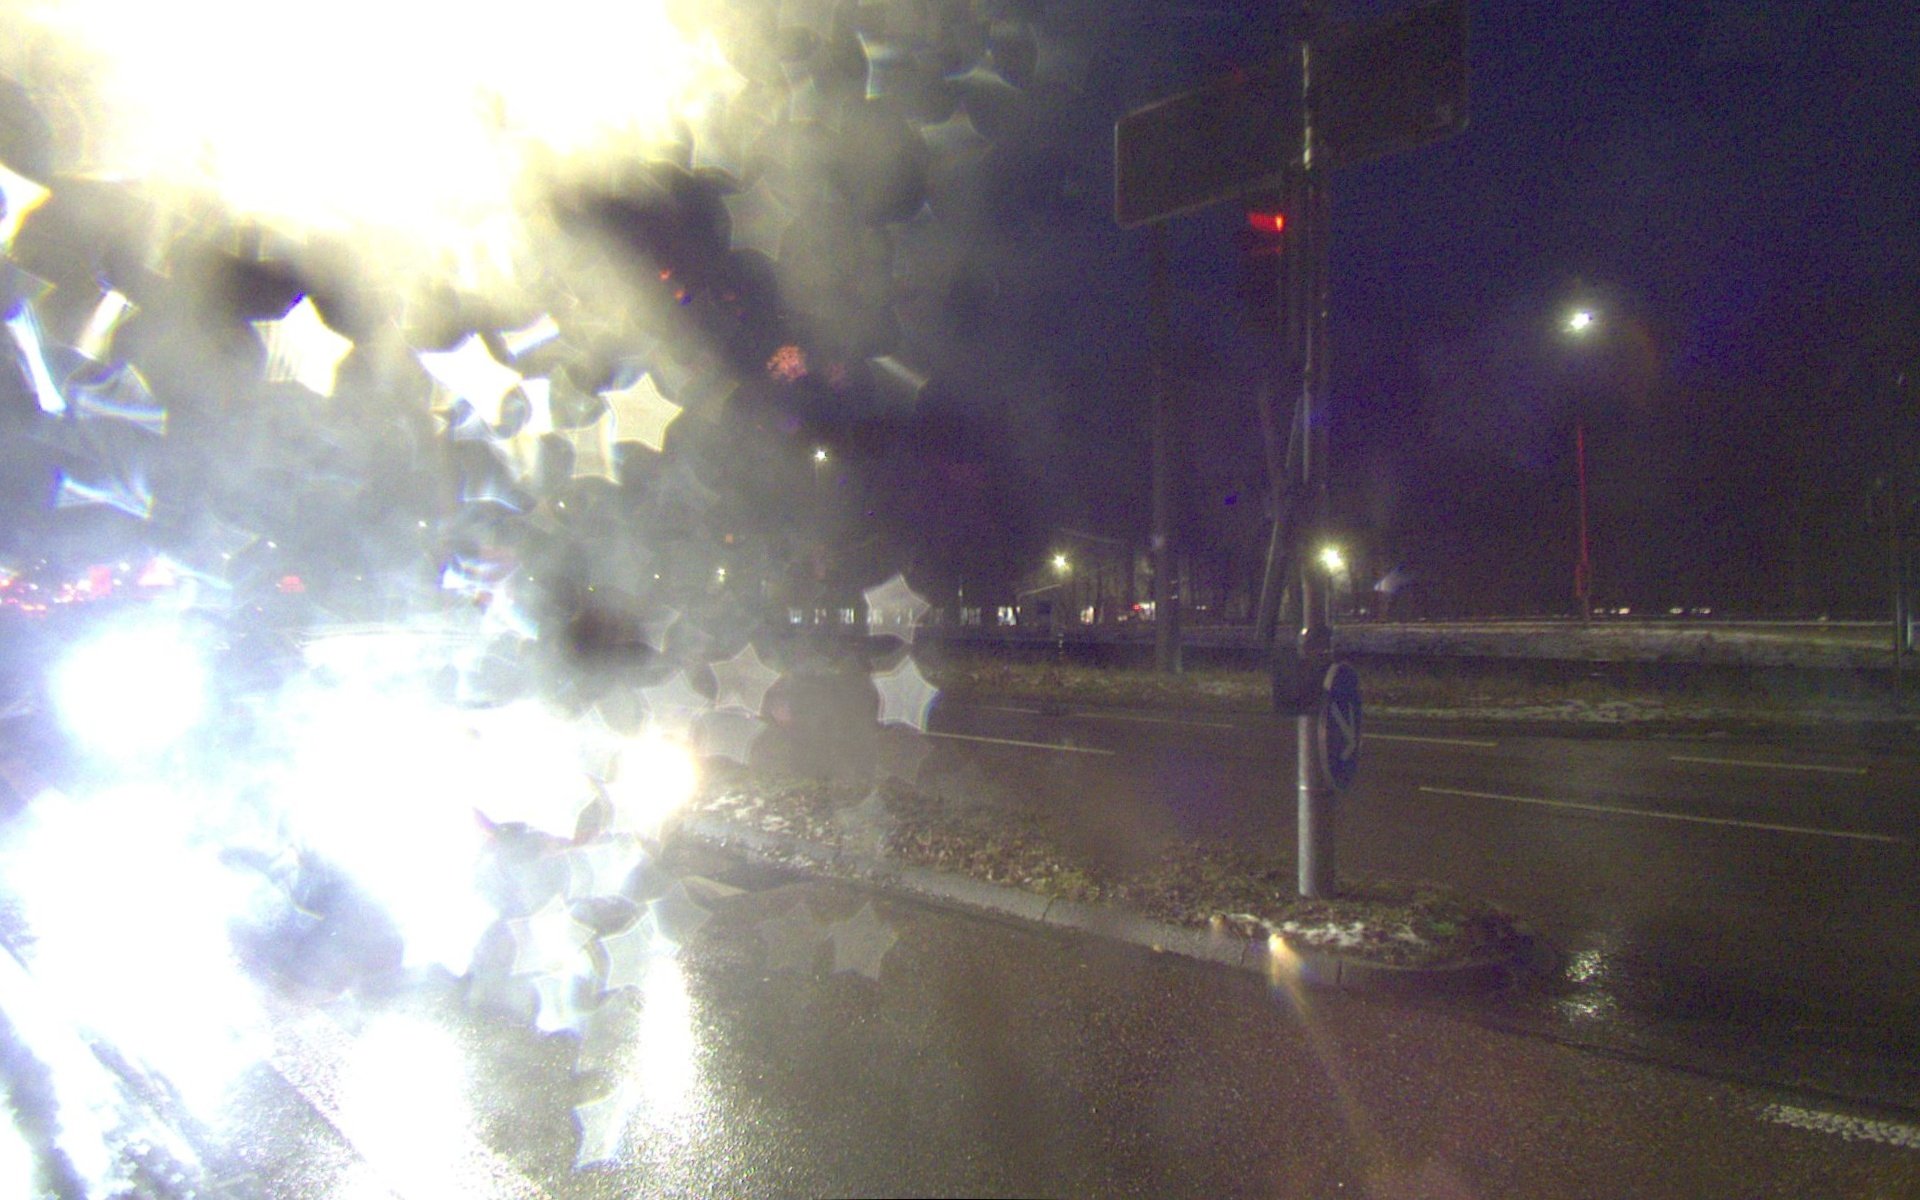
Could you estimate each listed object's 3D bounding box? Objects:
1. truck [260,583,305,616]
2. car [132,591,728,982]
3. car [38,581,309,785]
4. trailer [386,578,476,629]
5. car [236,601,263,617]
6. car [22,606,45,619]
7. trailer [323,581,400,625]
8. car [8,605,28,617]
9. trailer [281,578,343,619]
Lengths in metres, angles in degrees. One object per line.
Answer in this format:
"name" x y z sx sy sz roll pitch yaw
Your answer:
"truck" -100.877 -0.137 150.555 3.400 4.643 10.220 -6 4 -45
"car" -3.440 0.769 6.112 4.435 1.522 1.764 -1 -2 42
"car" -8.745 0.764 11.095 4.437 1.795 1.764 -1 -1 44
"trailer" -54.731 0.250 104.364 3.926 4.643 14.257 -6 4 -45
"car" -85.544 1.084 121.830 4.220 1.706 1.766 -1 1 44
"car" -118.684 1.622 129.595 4.652 1.654 1.742 -1 1 42
"trailer" -70.781 0.214 119.469 3.926 4.643 15.525 -6 4 -44
"car" -135.034 1.559 145.066 4.031 1.600 1.782 0 1 43
"trailer" -88.756 -0.287 138.438 3.926 5.049 14.845 -6 4 -44
